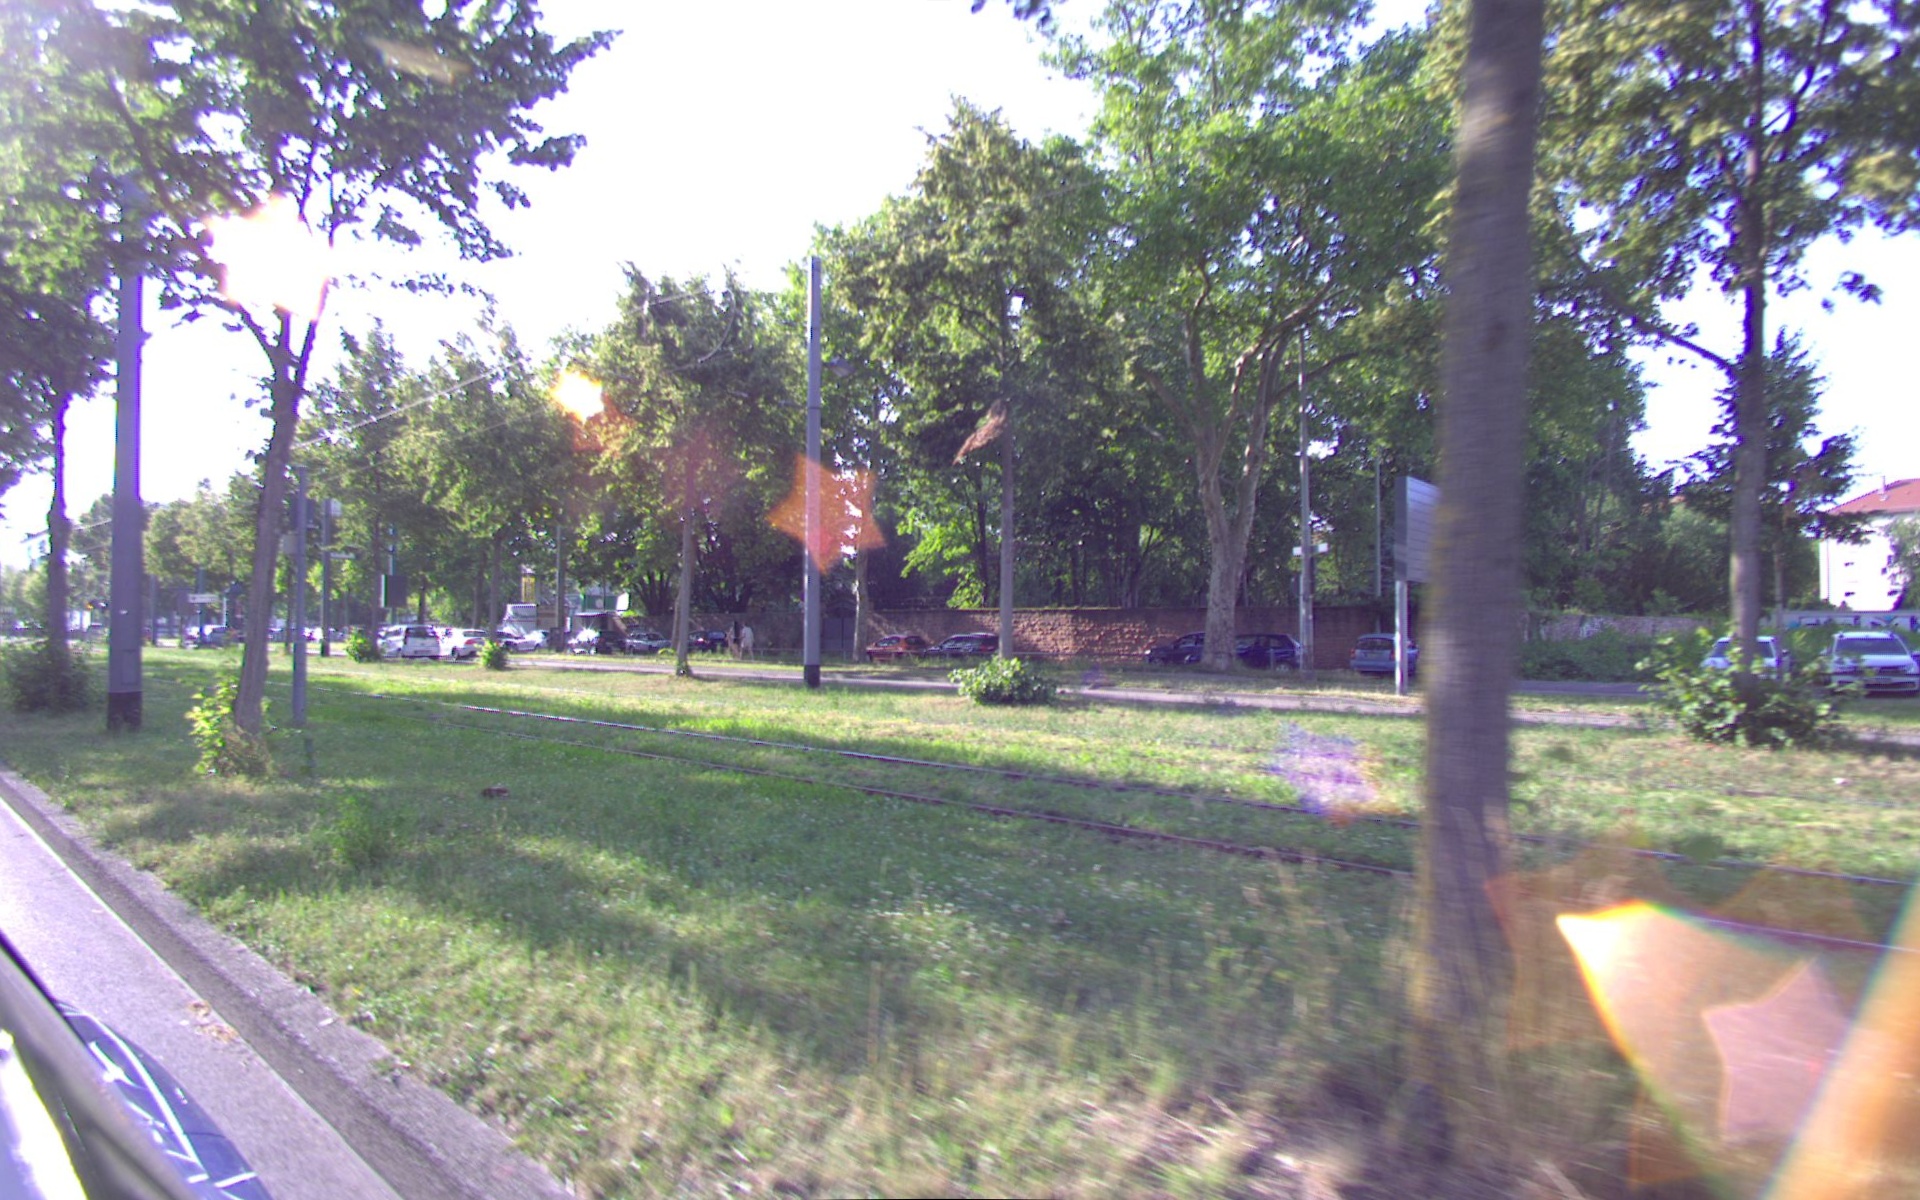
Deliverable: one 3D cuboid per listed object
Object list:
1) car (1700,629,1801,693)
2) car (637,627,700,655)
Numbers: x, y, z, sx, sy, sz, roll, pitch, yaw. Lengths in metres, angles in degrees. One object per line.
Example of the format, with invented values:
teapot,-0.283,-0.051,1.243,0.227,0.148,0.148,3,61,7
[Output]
car,21.131,1.572,27.008,1.810,1.439,3.607,-1,0,43
car,-18.658,2.596,64.685,4.474,1.624,1.811,-1,0,42
